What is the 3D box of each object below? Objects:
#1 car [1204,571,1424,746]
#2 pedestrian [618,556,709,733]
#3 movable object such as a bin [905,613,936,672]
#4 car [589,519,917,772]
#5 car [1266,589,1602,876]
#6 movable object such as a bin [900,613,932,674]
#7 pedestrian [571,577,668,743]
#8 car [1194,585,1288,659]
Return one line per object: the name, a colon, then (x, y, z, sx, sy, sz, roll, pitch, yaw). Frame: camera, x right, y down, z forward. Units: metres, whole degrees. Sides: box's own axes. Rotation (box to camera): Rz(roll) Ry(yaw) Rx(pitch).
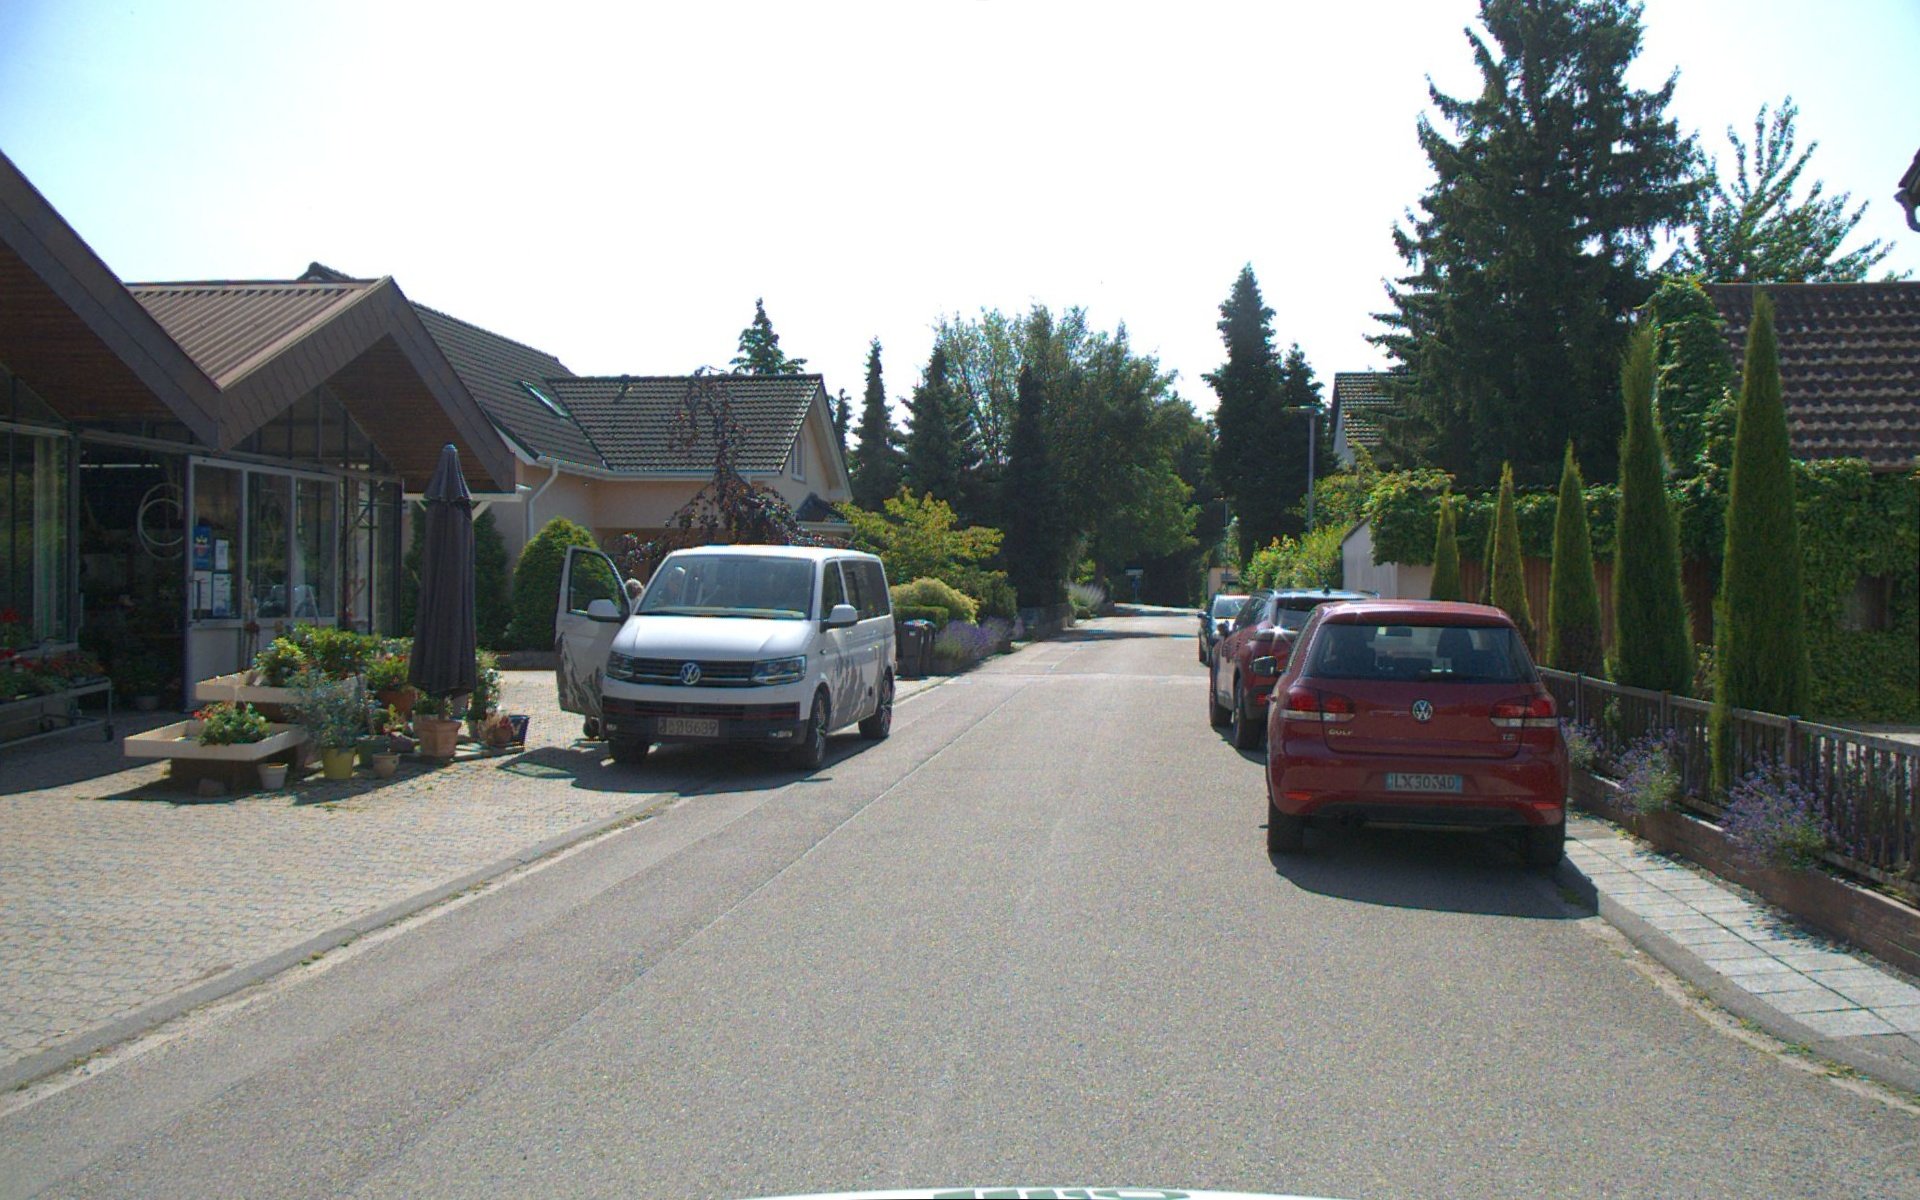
car: (3.662, 0.551, 17.745, 1.784, 1.643, 4.002, 1, 0, 4)
pedestrian: (-3.029, 0.436, 16.898, 0.678, 1.761, 0.639, 1, 1, 38)
movable object such as a bin: (-0.708, 0.761, 29.538, 0.483, 1.042, 0.448, -1, 0, 7)
car: (-1.772, 0.346, 15.973, 1.887, 2.049, 4.900, 0, 1, 9)
car: (2.955, 0.715, 11.062, 1.737, 1.505, 4.003, 1, 0, 10)
movable object such as a bin: (-0.767, 0.762, 29.079, 0.483, 1.042, 0.448, -1, 0, 7)
pedestrian: (-3.323, 0.561, 16.129, 0.706, 1.565, 0.638, 1, 1, 40)
car: (5.813, 0.432, 34.527, 1.666, 1.424, 4.003, 1, 0, 6)
